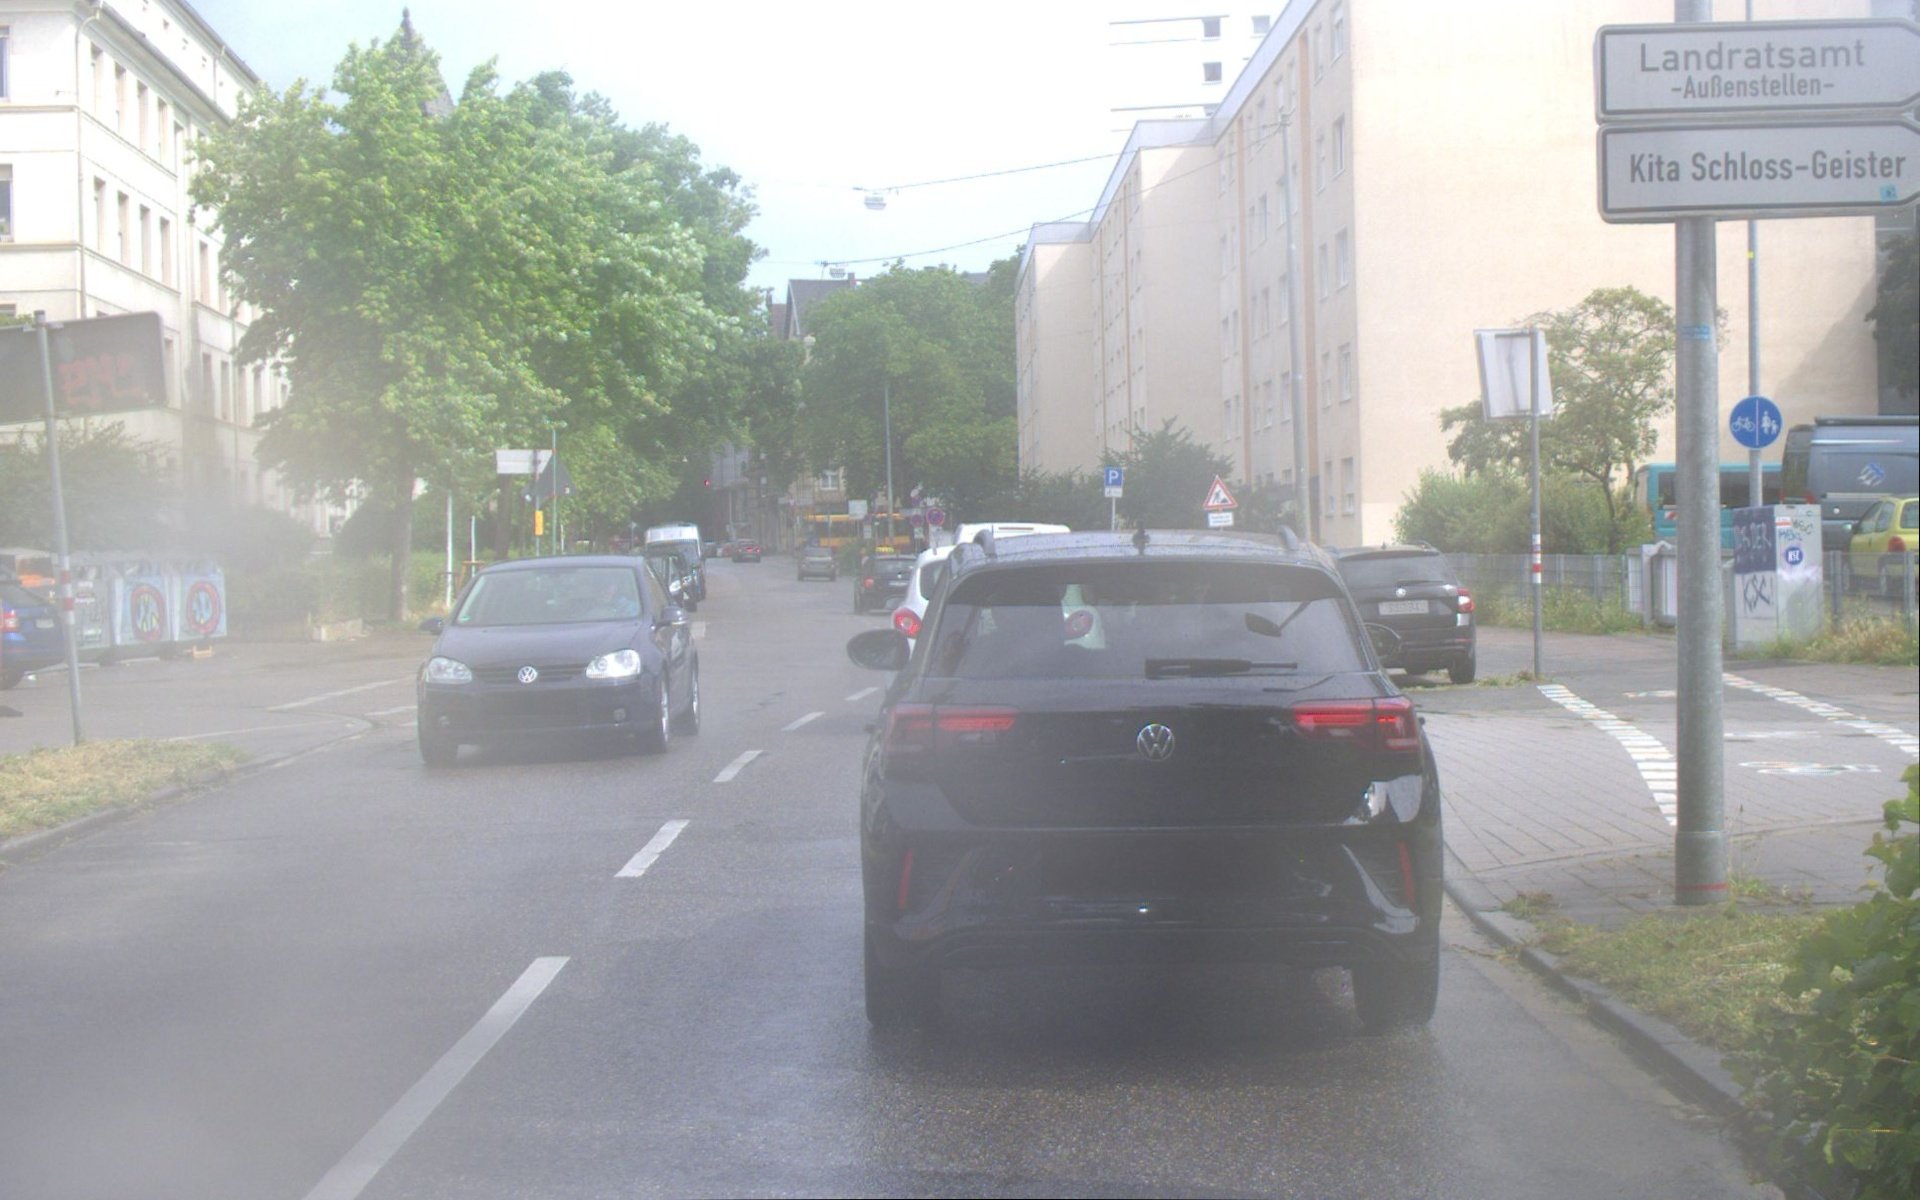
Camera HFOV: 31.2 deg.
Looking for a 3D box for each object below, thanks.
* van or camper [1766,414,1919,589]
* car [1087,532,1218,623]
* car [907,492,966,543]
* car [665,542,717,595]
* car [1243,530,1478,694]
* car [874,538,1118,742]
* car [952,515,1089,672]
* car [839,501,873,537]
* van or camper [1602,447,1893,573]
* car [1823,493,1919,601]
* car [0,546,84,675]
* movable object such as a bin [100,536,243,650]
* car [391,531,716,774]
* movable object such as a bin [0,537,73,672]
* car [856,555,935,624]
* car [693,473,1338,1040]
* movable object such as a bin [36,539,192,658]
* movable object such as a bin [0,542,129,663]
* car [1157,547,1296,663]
[{"bbox_3d":[14.884,-1.472,51.700,4.998,2.546,2.175,-1,0,1],"label":"van or camper"},{"bbox_3d":[3.303,-0.364,59.724,1.748,1.503,4.112,-1,0,-4],"label":"car"},{"bbox_3d":[-0.762,-2.765,115.834,1.841,1.602,3.675,-3,1,1],"label":"car"},{"bbox_3d":[-8.827,-1.044,112.643,1.585,1.634,3.921,-2,1,-5],"label":"car"},{"bbox_3d":[4.174,0.077,36.488,1.774,1.534,4.378,-3,1,-2],"label":"car"},{"bbox_3d":[0.261,0.295,27.755,1.813,1.498,4.000,1,0,0],"label":"car"},{"bbox_3d":[0.873,-0.095,48.551,1.836,2.096,4.000,1,0,2],"label":"car"},{"bbox_3d":[-5.394,-4.199,178.771,1.665,1.831,4.001,-2,1,-2],"label":"car"},{"bbox_3d":[14.131,-1.617,61.918,4.760,2.124,2.321,-1,1,4],"label":"van or camper"},{"bbox_3d":[13.263,-0.766,48.121,1.611,1.444,3.416,-2,1,3],"label":"car"},{"bbox_3d":[-13.565,0.100,43.539,4.434,1.579,1.821,1,1,8],"label":"car"},{"bbox_3d":[-12.001,-0.108,52.374,1.539,1.656,1.457,-1,2,19],"label":"movable object such as a bin"},{"bbox_3d":[-2.959,0.329,25.796,1.841,1.602,4.000,-3,1,1],"label":"car"},{"bbox_3d":[-13.376,0.062,47.759,1.539,1.818,1.262,-1,2,19],"label":"movable object such as a bin"},{"bbox_3d":[-1.527,-0.256,80.556,1.604,1.505,3.548,-2,1,-4],"label":"car"},{"bbox_3d":[0.148,0.450,12.106,1.873,1.640,4.062,1,0,0],"label":"car"},{"bbox_3d":[-12.500,-0.028,50.860,1.539,1.668,1.664,-1,2,19],"label":"movable object such as a bin"},{"bbox_3d":[-13.029,0.032,49.299,1.539,1.650,1.526,-1,2,19],"label":"movable object such as a bin"},{"bbox_3d":[3.683,0.080,48.010,1.757,1.522,4.000,1,-1,2],"label":"car"}]
